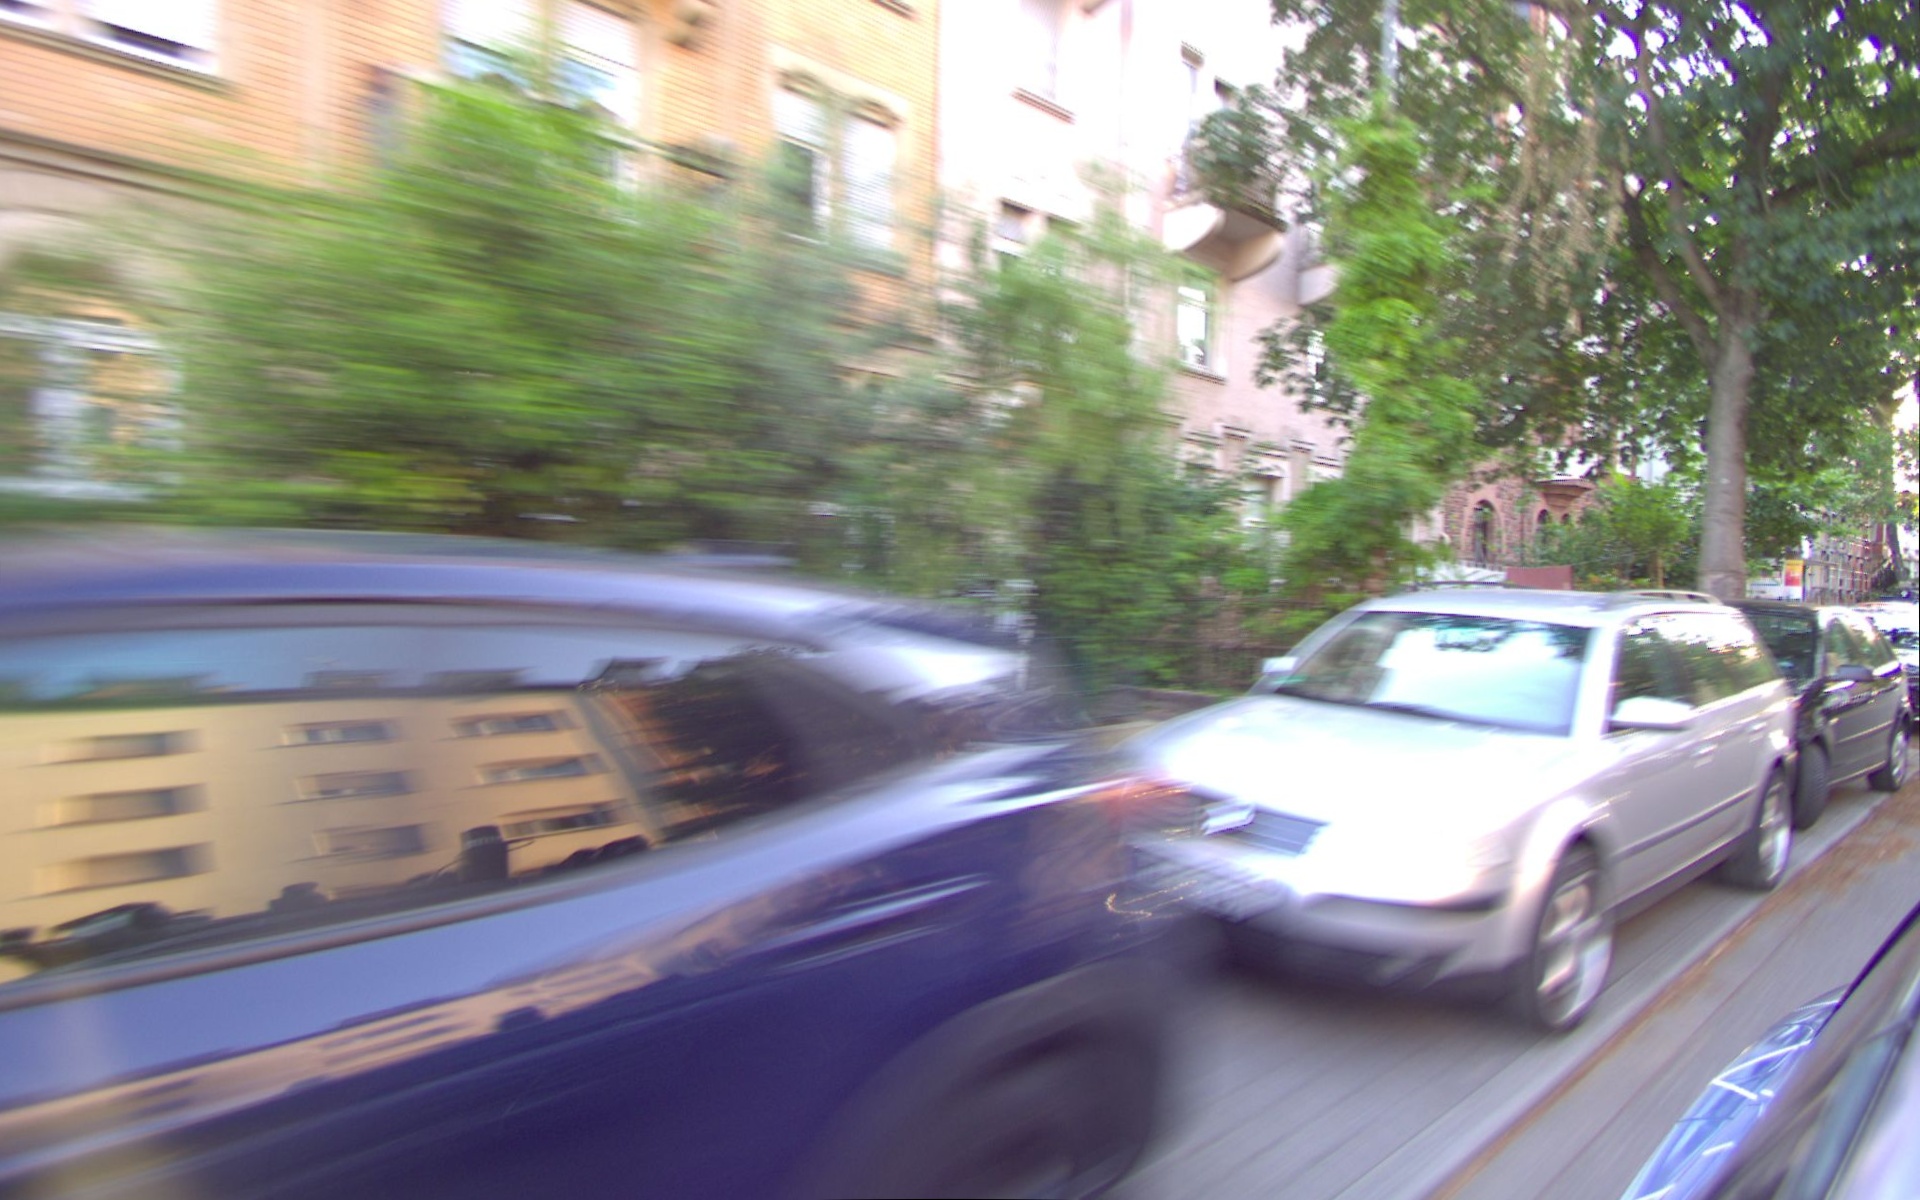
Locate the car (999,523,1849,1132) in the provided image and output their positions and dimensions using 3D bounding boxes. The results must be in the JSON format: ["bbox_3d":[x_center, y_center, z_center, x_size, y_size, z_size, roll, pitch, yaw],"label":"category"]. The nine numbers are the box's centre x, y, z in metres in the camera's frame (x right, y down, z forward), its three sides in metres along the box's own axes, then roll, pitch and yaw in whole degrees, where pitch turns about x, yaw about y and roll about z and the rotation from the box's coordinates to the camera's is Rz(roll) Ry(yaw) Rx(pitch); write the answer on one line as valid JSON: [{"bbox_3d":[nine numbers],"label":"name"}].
[{"bbox_3d":[2.552,0.586,4.847,4.754,1.602,1.760,0,0,-39],"label":"car"}]

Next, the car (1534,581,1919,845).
[{"bbox_3d":[5.950,0.653,7.670,3.537,1.544,1.590,0,0,-39],"label":"car"}]

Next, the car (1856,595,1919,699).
[{"bbox_3d":[15.571,0.691,16.189,3.862,1.525,1.477,0,1,-43],"label":"car"}]

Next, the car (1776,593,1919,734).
[{"bbox_3d":[11.769,0.686,12.752,4.093,1.525,1.734,0,1,-43],"label":"car"}]

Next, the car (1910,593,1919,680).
[{"bbox_3d":[18.937,0.661,18.906,3.282,1.567,1.500,0,1,-43],"label":"car"}]

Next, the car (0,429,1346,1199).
[{"bbox_3d":[-1.373,0.631,1.493,4.247,1.570,1.724,0,1,-39],"label":"car"}]
